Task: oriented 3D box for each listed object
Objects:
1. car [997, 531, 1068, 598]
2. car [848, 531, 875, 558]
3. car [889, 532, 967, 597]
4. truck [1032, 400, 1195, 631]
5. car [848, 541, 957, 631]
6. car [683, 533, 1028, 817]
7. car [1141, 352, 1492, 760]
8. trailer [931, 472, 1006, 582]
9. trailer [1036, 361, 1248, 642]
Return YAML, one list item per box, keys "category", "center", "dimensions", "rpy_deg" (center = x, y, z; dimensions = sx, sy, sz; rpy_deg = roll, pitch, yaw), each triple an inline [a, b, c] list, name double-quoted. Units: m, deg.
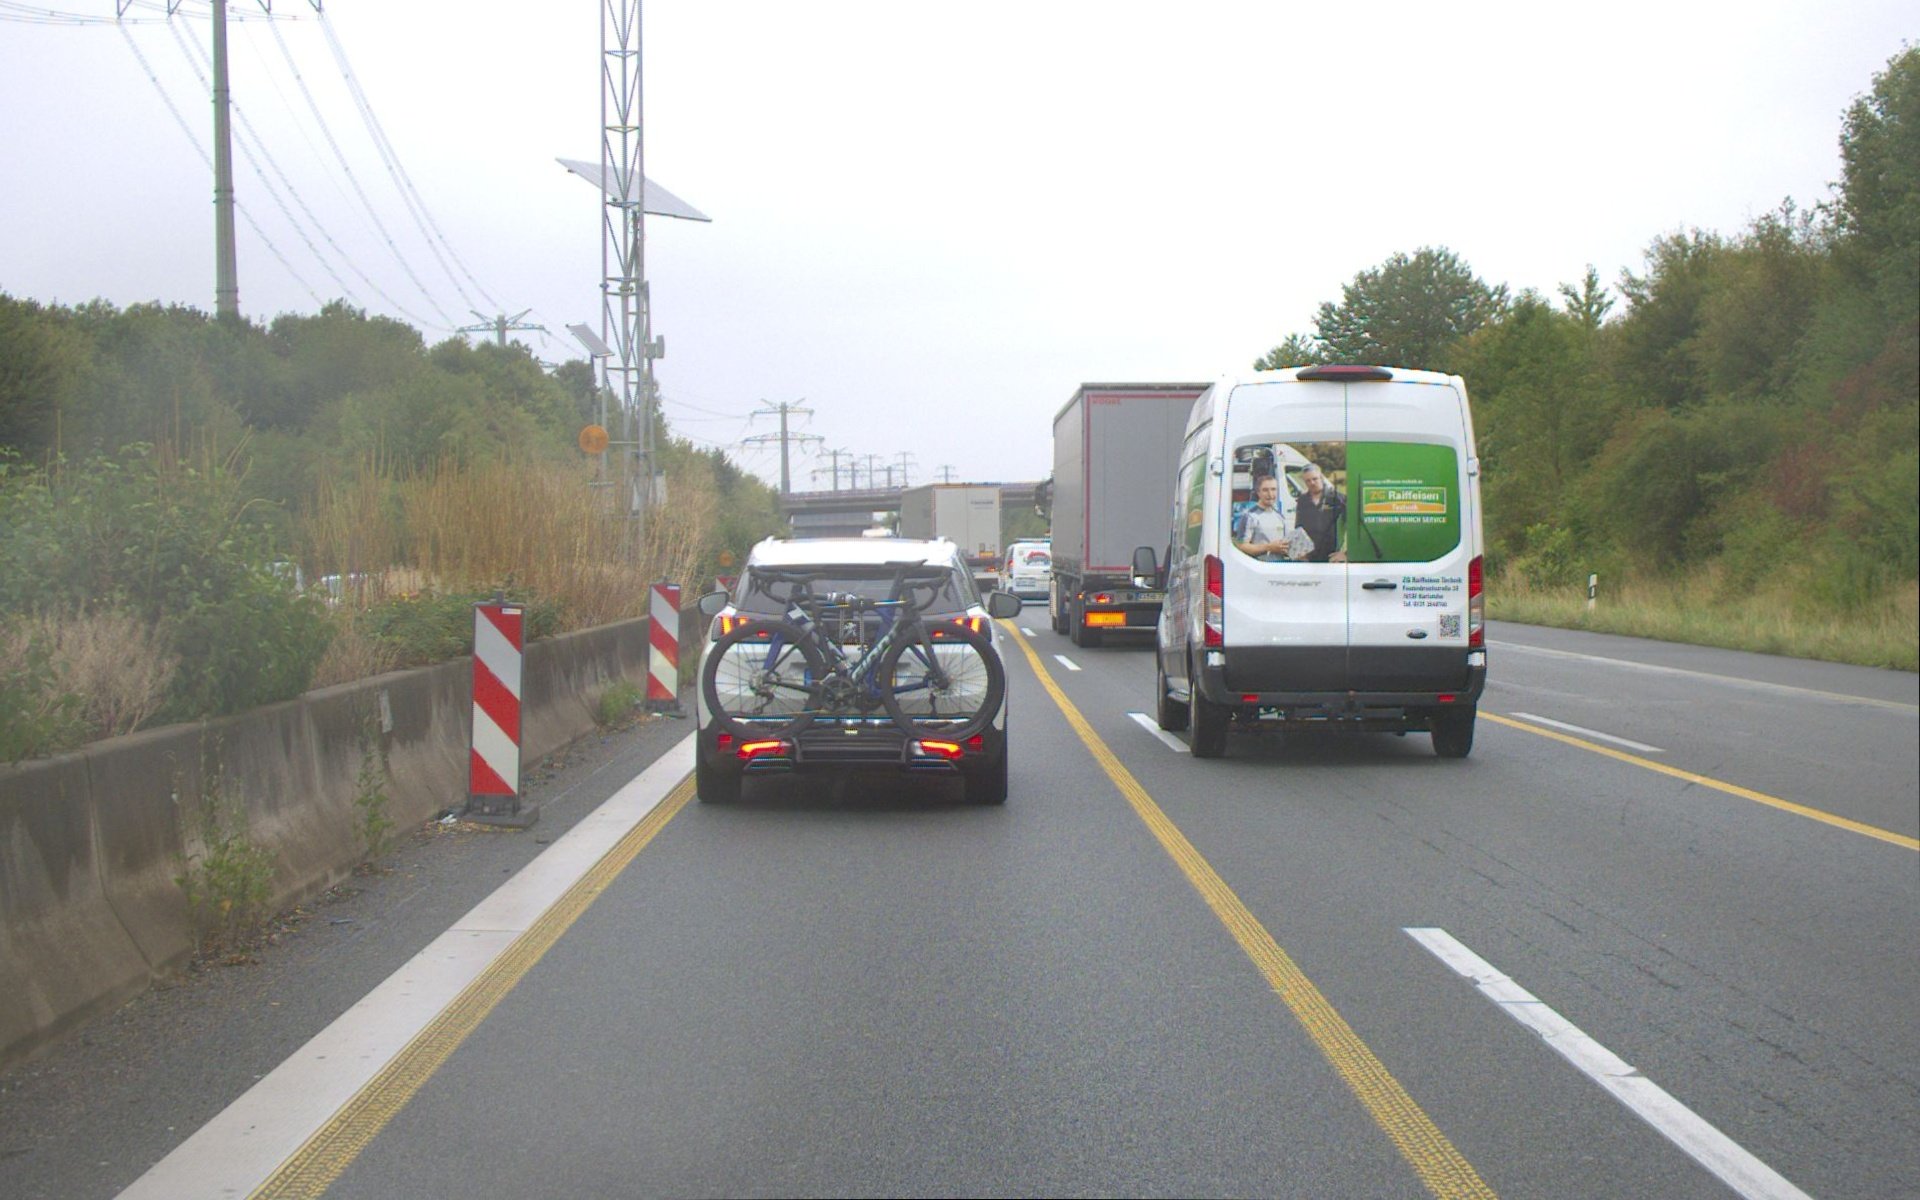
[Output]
- category: "car"
  center: [2.035, -1.019, 97.241]
  dimensions: [1.829, 1.833, 4.656]
  rpy_deg: [0, 1, -1]
- category: "car"
  center: [-7.368, -4.165, 257.259]
  dimensions: [1.931, 1.966, 4.001]
  rpy_deg: [0, 2, -1]
- category: "car"
  center: [-0.797, -0.877, 83.459]
  dimensions: [1.850, 1.525, 4.000]
  rpy_deg: [0, 1, -1]
- category: "truck"
  center: [2.800, -1.554, 64.292]
  dimensions: [2.706, 4.124, 5.691]
  rpy_deg: [0, 1, -1]
- category: "car"
  center: [-1.009, -0.268, 60.347]
  dimensions: [1.850, 1.525, 4.000]
  rpy_deg: [0, 1, -1]
- category: "car"
  center: [-0.597, 0.364, 20.855]
  dimensions: [1.850, 1.525, 4.769]
  rpy_deg: [0, 1, -1]
- category: "car"
  center: [2.587, -0.348, 26.350]
  dimensions: [1.993, 2.773, 5.757]
  rpy_deg: [0, 1, -1]
- category: "trailer"
  center: [0.266, -2.812, 134.109]
  dimensions: [2.692, 4.062, 13.634]
  rpy_deg: [0, 1, -1]
- category: "trailer"
  center: [2.829, -1.556, 57.528]
  dimensions: [2.706, 4.132, 13.733]
  rpy_deg: [0, 1, -1]
